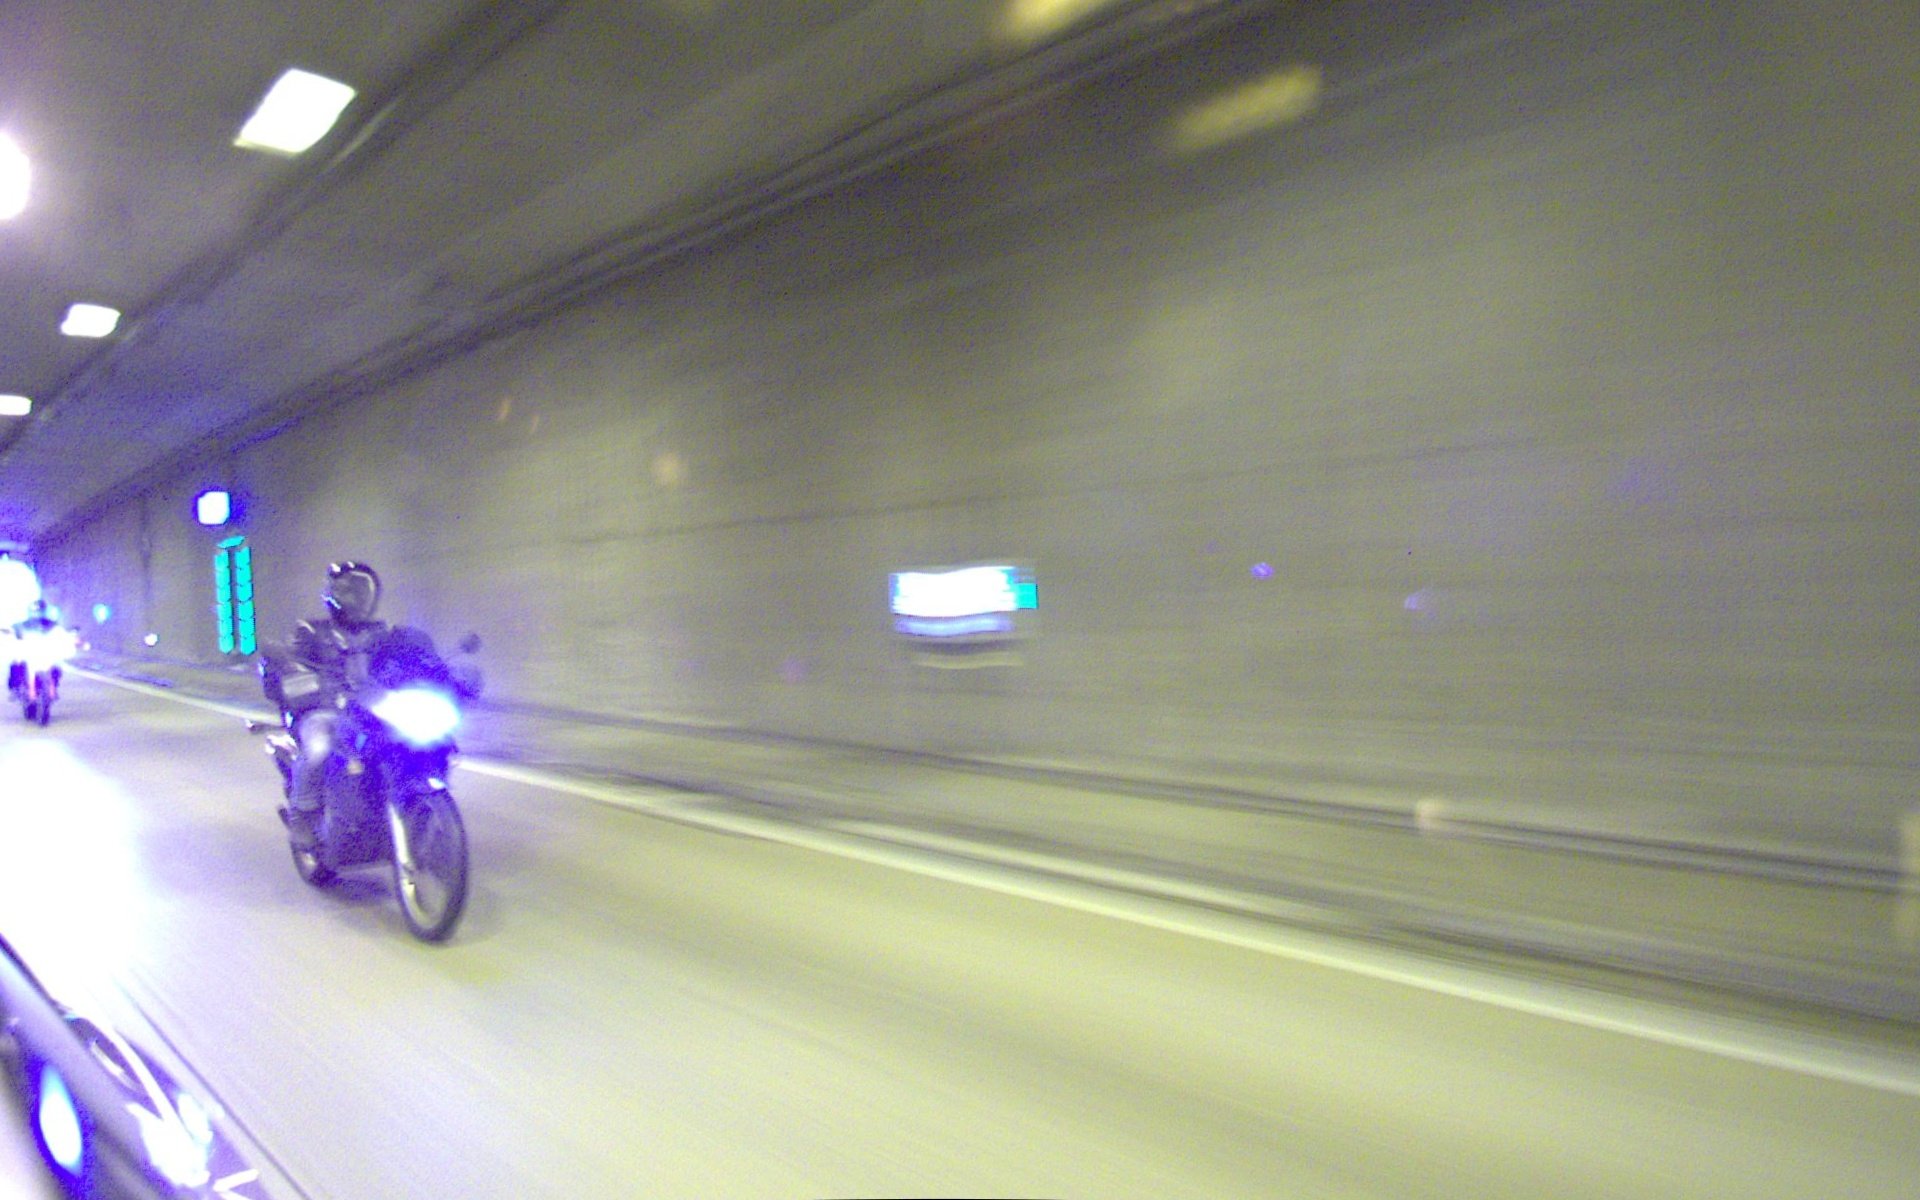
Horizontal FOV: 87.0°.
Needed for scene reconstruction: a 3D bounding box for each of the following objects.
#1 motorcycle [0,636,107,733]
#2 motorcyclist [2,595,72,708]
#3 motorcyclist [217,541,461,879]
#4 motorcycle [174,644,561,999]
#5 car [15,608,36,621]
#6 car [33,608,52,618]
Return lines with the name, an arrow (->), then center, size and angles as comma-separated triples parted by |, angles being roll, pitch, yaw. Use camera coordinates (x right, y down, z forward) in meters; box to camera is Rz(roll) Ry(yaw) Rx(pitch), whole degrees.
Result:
motorcycle -> -12.605, 1.103, 13.888 | 2.427, 1.166, 1.042 | -1, -1, 42
motorcyclist -> -12.735, 0.689, 13.966 | 0.890, 1.500, 0.620 | -1, -1, 41
motorcyclist -> -3.100, 0.492, 5.058 | 0.821, 1.488, 0.830 | -2, -1, 41
motorcycle -> -2.999, 0.877, 4.947 | 2.603, 1.255, 0.837 | -1, -1, 41
car -> -140.712, 2.160, 152.372 | 1.968, 1.812, 4.008 | -1, 1, -38
car -> -163.979, 2.321, 180.917 | 1.967, 1.812, 4.010 | -1, 1, -35
